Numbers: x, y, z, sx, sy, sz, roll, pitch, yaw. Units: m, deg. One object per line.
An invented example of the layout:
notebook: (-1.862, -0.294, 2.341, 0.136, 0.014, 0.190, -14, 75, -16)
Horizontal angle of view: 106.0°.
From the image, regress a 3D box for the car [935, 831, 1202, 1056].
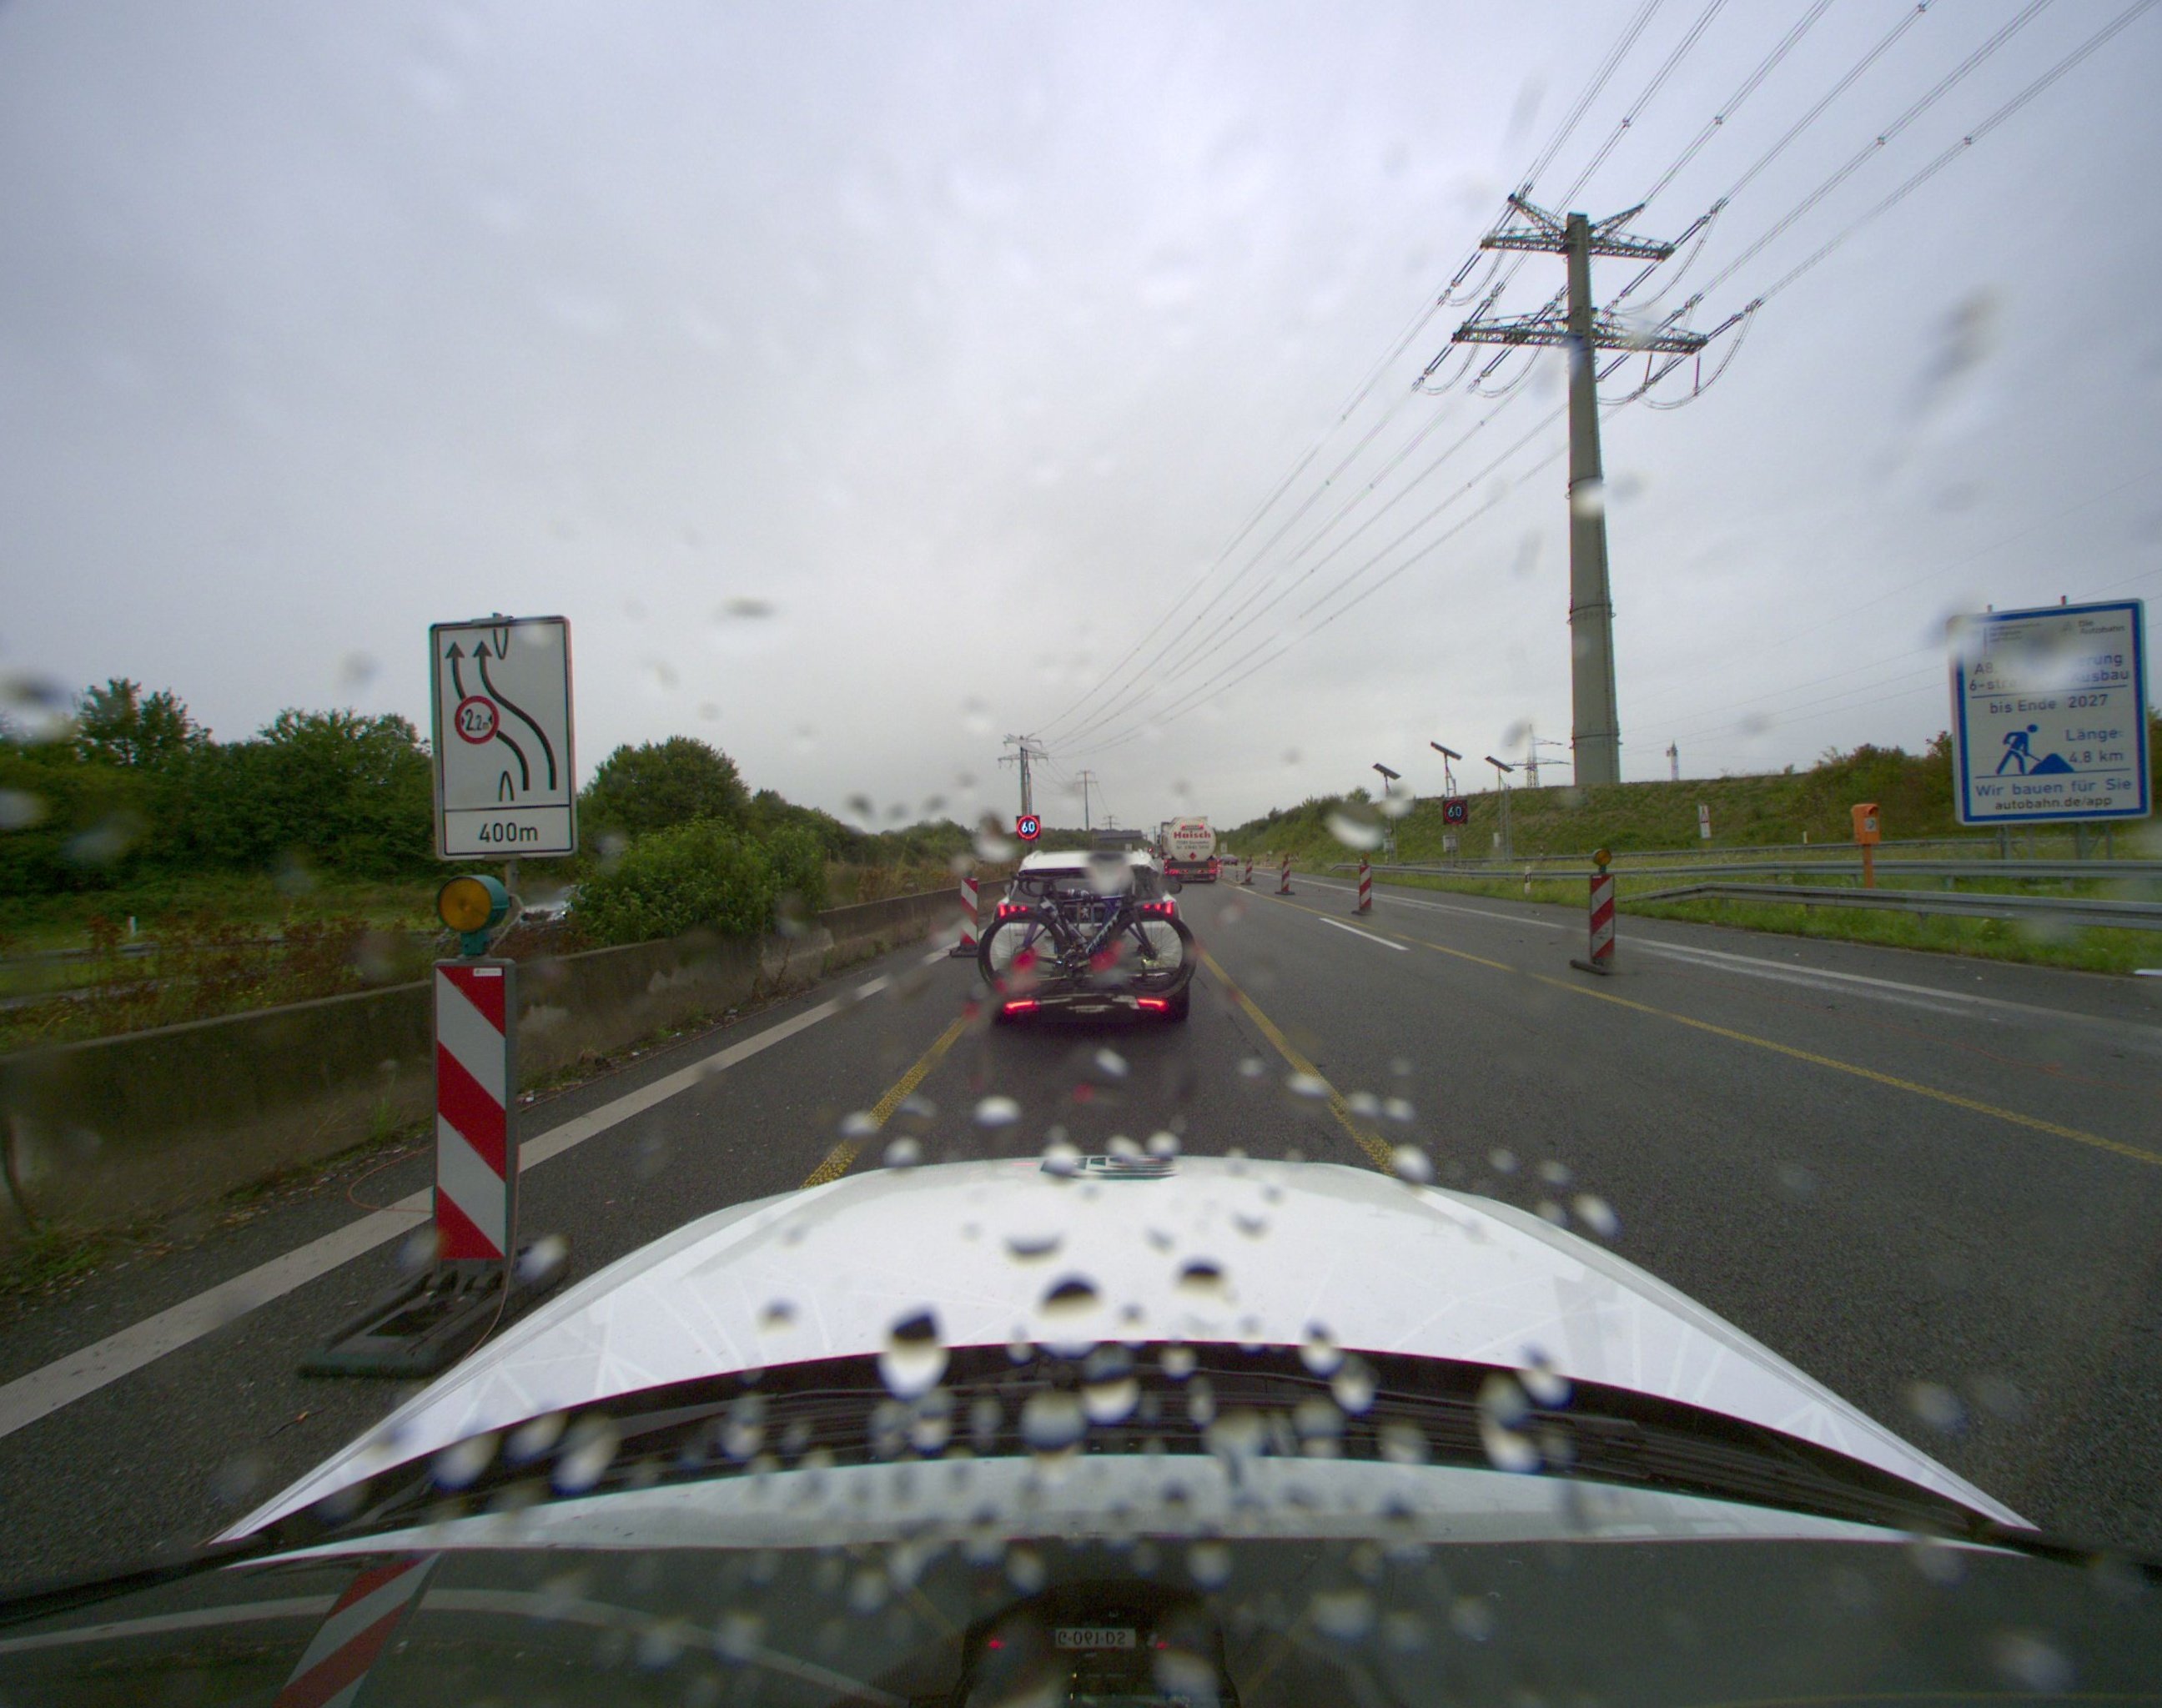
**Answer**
car: (0.072, 0.655, 8.209, 1.919, 1.611, 4.600, -1, 0, 4)

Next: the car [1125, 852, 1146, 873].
car: (5.482, 0.847, 82.340, 1.986, 2.014, 4.001, 0, -1, 2)

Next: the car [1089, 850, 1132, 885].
car: (1.429, 0.634, 40.178, 1.986, 1.584, 4.002, -1, 0, 2)

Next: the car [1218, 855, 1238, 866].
car: (16.962, 0.763, 94.272, 1.478, 1.161, 3.905, -3, -1, -1)

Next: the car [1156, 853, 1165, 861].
car: (19.450, 0.679, 199.784, 1.986, 2.014, 4.001, 0, -1, 2)

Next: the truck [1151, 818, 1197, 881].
truck: (5.940, -0.279, 52.588, 2.635, 3.891, 4.031, 0, -1, 2)

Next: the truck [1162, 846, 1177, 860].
truck: (26.143, -0.380, 241.372, 3.715, 3.823, 11.879, -1, -1, 4)

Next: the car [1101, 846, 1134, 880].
car: (2.356, 0.545, 52.677, 1.986, 2.013, 4.002, -3, 0, 2)

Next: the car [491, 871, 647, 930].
car: (-15.518, 1.352, 25.009, 1.985, 1.479, 4.112, -2, 0, 3)

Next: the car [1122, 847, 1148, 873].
car: (4.519, 0.503, 68.460, 1.986, 2.013, 4.002, -3, 0, 2)

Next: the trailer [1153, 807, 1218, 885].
trailer: (5.709, -0.333, 46.050, 2.628, 3.893, 10.547, 0, -1, 2)

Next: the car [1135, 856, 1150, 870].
car: (9.314, 1.354, 123.518, 1.986, 2.014, 4.001, 0, -1, 2)

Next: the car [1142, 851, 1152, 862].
car: (12.362, 0.481, 152.066, 1.645, 2.013, 4.007, -1, 0, 6)
